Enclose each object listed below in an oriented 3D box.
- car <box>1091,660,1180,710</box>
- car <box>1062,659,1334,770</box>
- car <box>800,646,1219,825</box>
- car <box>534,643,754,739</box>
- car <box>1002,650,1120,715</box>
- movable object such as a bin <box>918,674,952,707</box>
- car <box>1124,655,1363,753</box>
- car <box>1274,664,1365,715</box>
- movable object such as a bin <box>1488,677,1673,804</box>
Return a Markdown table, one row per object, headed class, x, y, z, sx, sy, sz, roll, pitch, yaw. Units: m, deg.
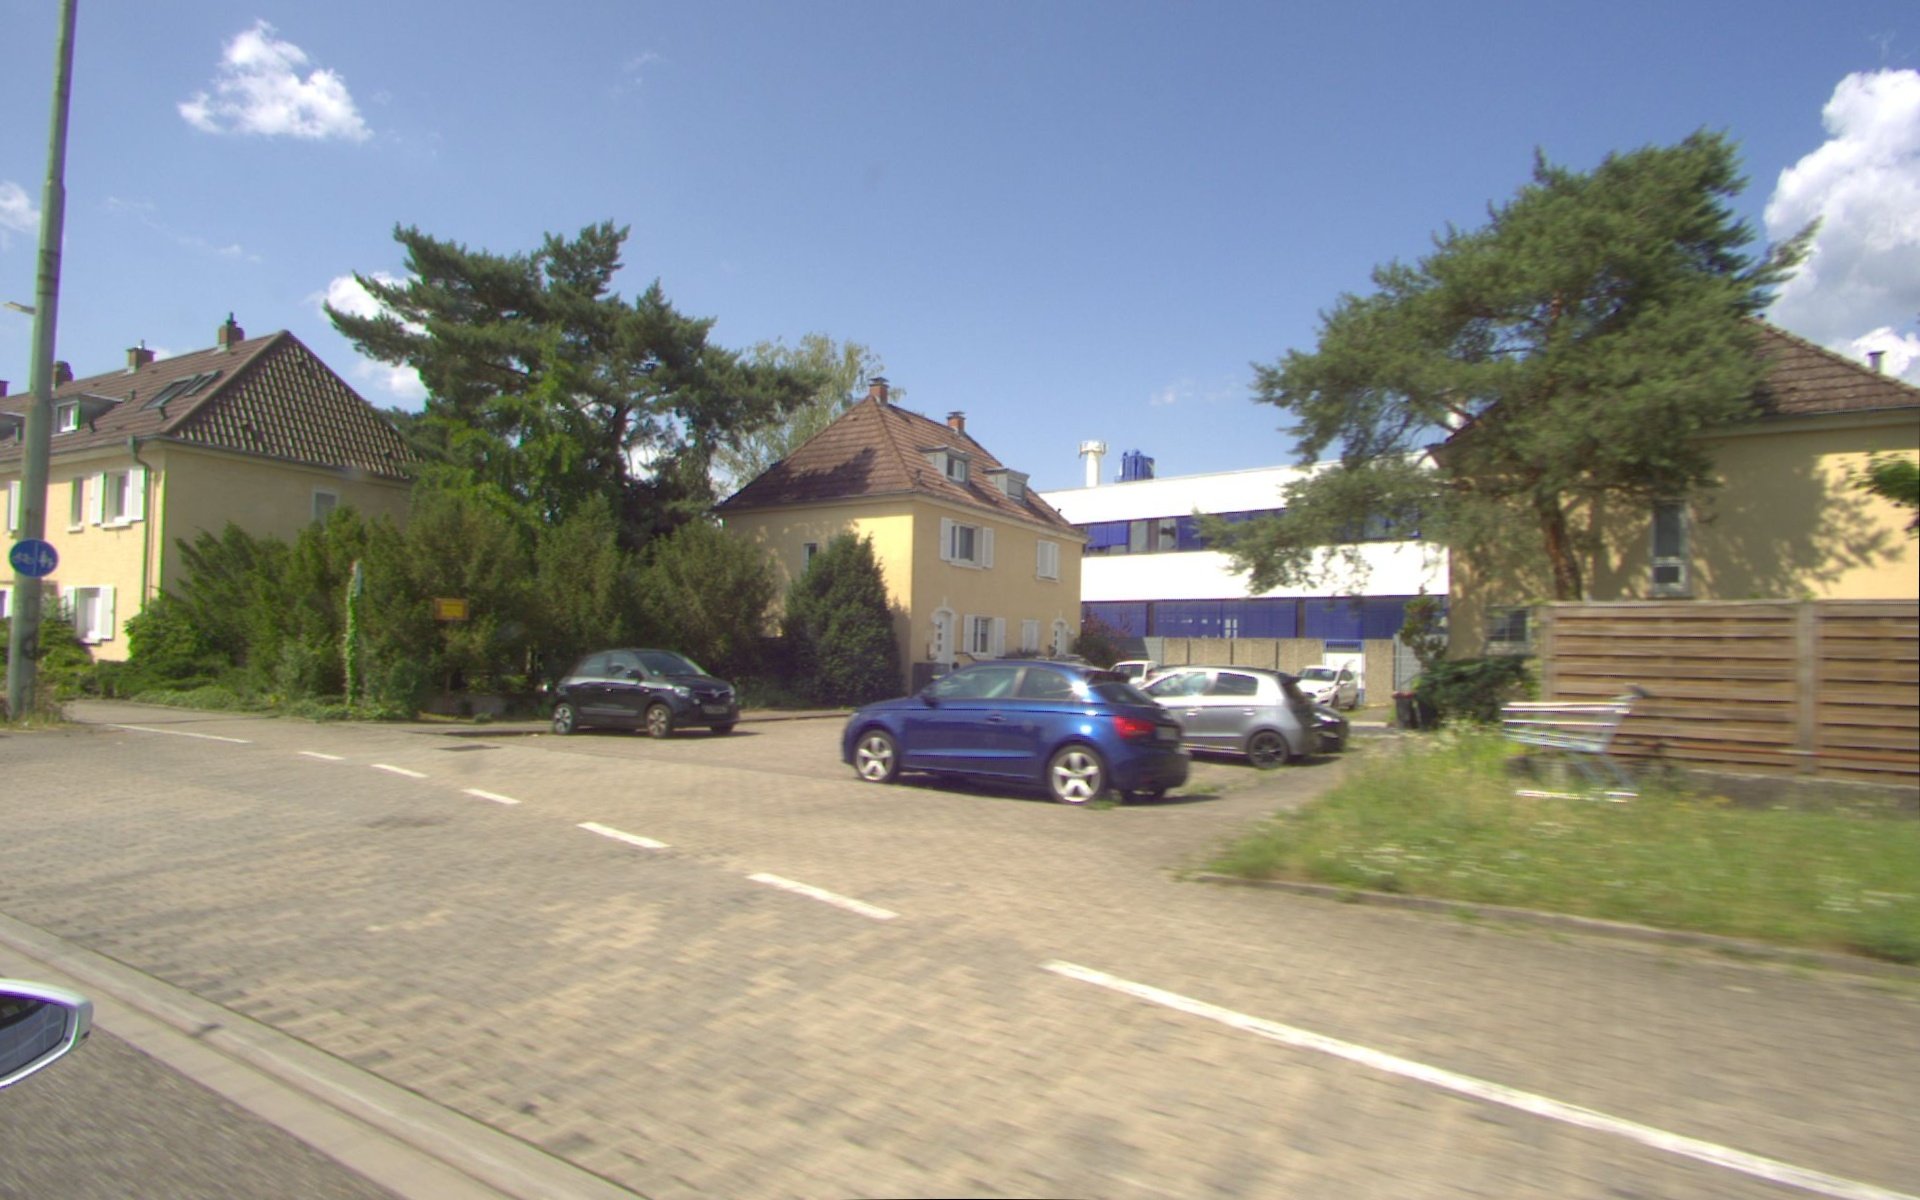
| class | x | y | z | sx | sy | sz | roll | pitch | yaw |
| --- | --- | --- | --- | --- | --- | --- | --- | --- | --- |
| car | 5.941 | 2.817 | 33.562 | 1.730 | 1.500 | 4.110 | -5 | -5 | 28 |
| car | 3.714 | 1.716 | 15.766 | 3.873 | 1.415 | 1.560 | 1 | -3 | 30 |
| car | 0.418 | 1.300 | 10.707 | 4.230 | 1.398 | 1.636 | 1 | -3 | 36 |
| car | -5.696 | 1.574 | 17.992 | 3.752 | 1.566 | 1.628 | -1 | -4 | 29 |
| car | 2.994 | 2.388 | 28.994 | 1.710 | 1.708 | 4.106 | -4 | -6 | 32 |
| movable object such as a bin | -0.735 | 2.648 | 29.320 | 0.730 | 0.925 | 0.698 | -1 | -3 | 34 |
| car | 5.025 | 1.781 | 17.837 | 3.871 | 1.430 | 1.539 | 1 | -1 | 27 |
| car | 11.882 | 2.890 | 32.949 | 1.710 | 1.405 | 4.274 | 3 | -1 | 35 |
| movable object such as a bin | 5.199 | 1.138 | 8.419 | 1.272 | 0.947 | 0.568 | -1 | -3 | 39 |
